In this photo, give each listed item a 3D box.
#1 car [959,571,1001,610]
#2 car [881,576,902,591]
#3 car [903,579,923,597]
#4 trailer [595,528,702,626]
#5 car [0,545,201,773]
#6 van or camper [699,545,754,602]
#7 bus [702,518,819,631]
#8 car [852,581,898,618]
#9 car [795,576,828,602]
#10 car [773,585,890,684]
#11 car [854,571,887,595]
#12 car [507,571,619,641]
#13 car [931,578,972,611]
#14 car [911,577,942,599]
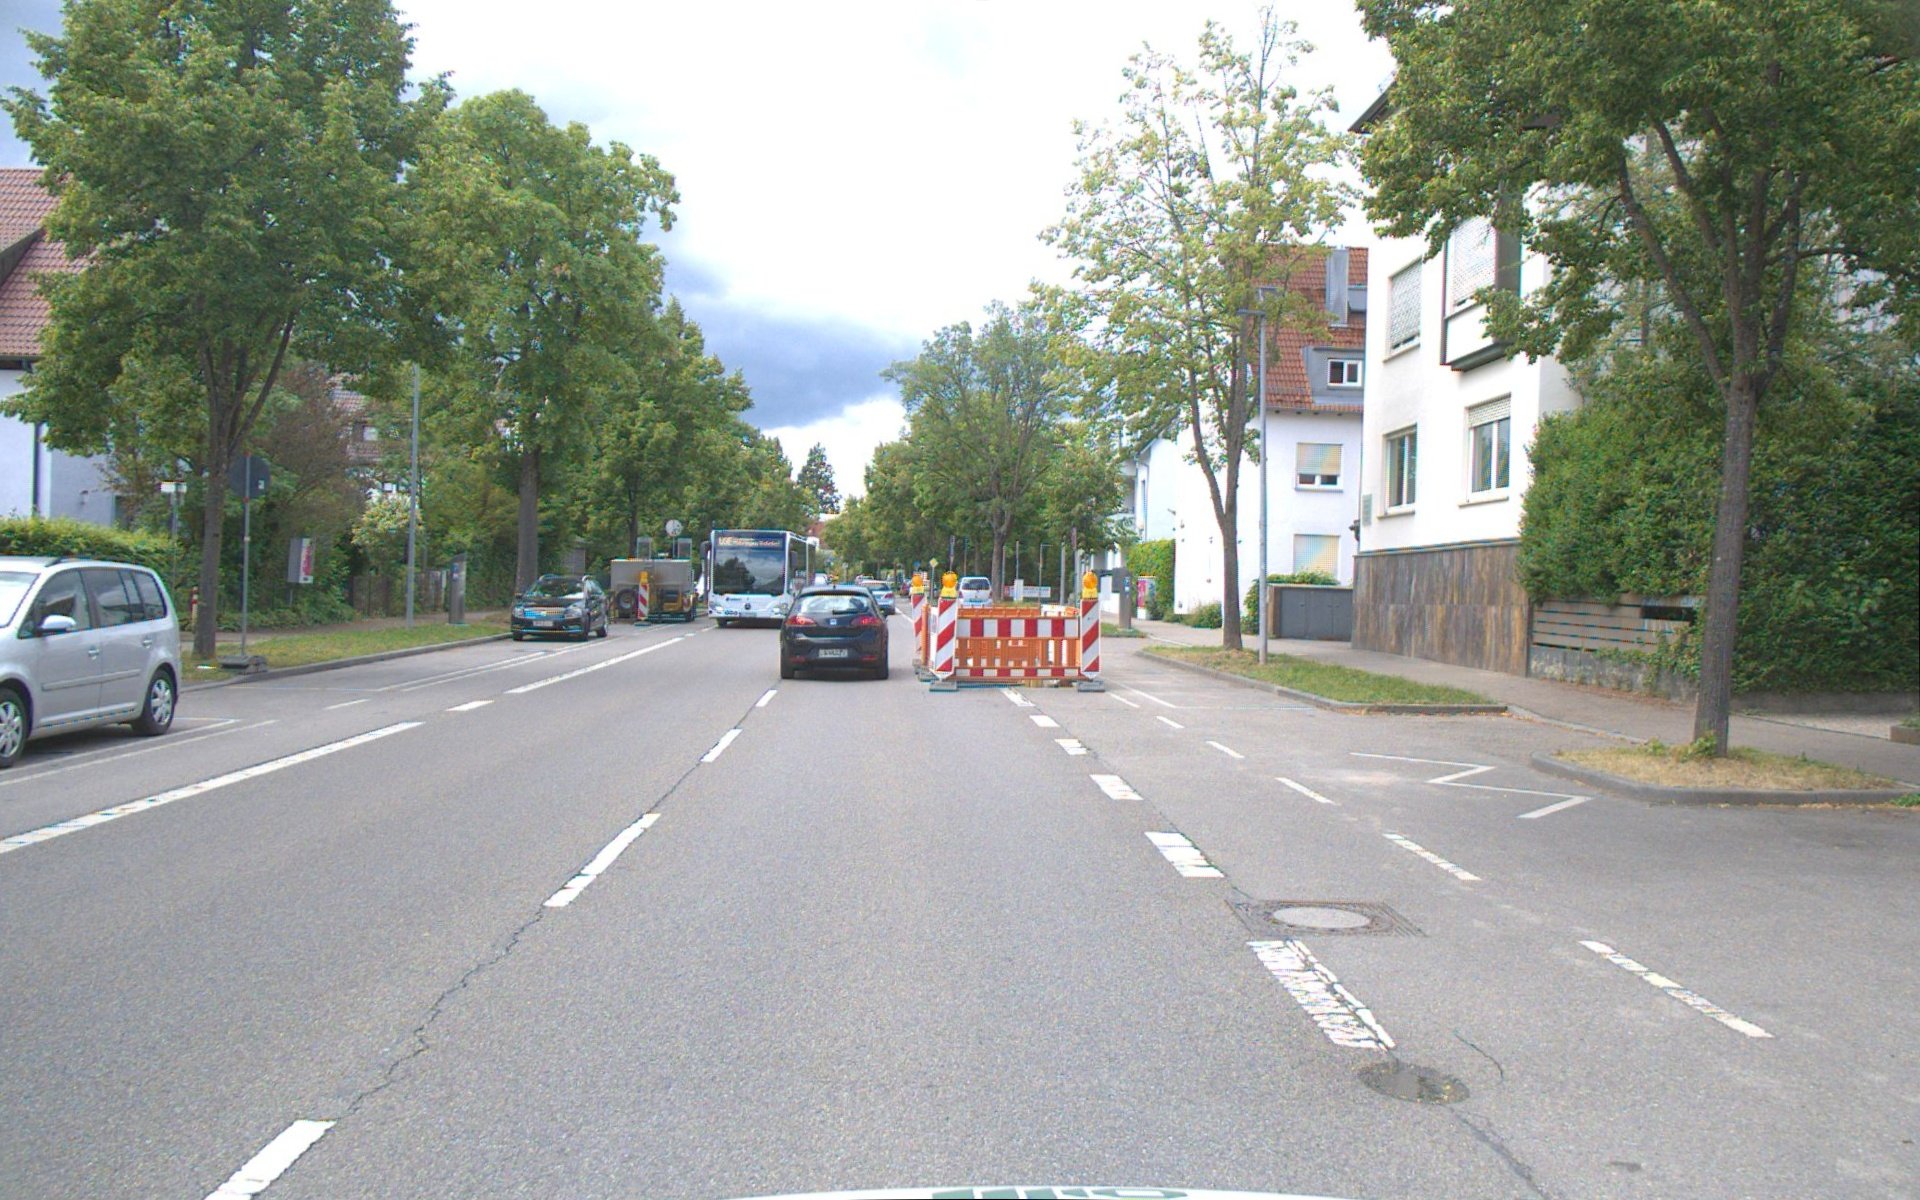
[{"bbox_3d":[0.858,-0.448,73.784,1.600,1.694,3.645,1,1,-4],"label":"car"},{"bbox_3d":[-7.153,-1.734,172.353,1.652,1.457,4.036,1,1,-9],"label":"car"},{"bbox_3d":[-3.904,-0.998,137.520,1.605,1.445,3.998,0,1,-2],"label":"car"},{"bbox_3d":[-10.259,-0.714,55.154,2.621,2.992,7.468,1,0,-5],"label":"trailer"},{"bbox_3d":[-8.079,0.424,13.795,1.655,1.713,4.223,1,0,-2],"label":"car"},{"bbox_3d":[-13.009,-1.462,92.584,2.387,3.062,7.688,1,1,-4],"label":"van or camper"},{"bbox_3d":[-6.801,-0.779,59.012,2.749,3.346,18.035,1,0,-3],"label":"bus"},{"bbox_3d":[-3.789,-0.063,74.117,1.953,1.585,3.999,1,1,-2],"label":"car"},{"bbox_3d":[-9.870,-0.742,110.322,1.953,1.697,4.587,-1,1,-2],"label":"car"},{"bbox_3d":[-2.125,0.511,26.821,1.749,1.474,3.553,1,0,-6],"label":"car"},{"bbox_3d":[-5.862,-1.117,108.213,1.955,1.556,3.996,1,1,-6],"label":"car"},{"bbox_3d":[-9.563,0.182,40.184,1.823,1.580,4.616,1,-1,-4],"label":"car"},{"bbox_3d":[-0.435,-0.286,79.449,1.654,1.519,4.224,0,1,-4],"label":"car"},{"bbox_3d":[-2.406,-0.839,117.287,1.981,1.468,5.022,1,1,-3],"label":"car"}]
